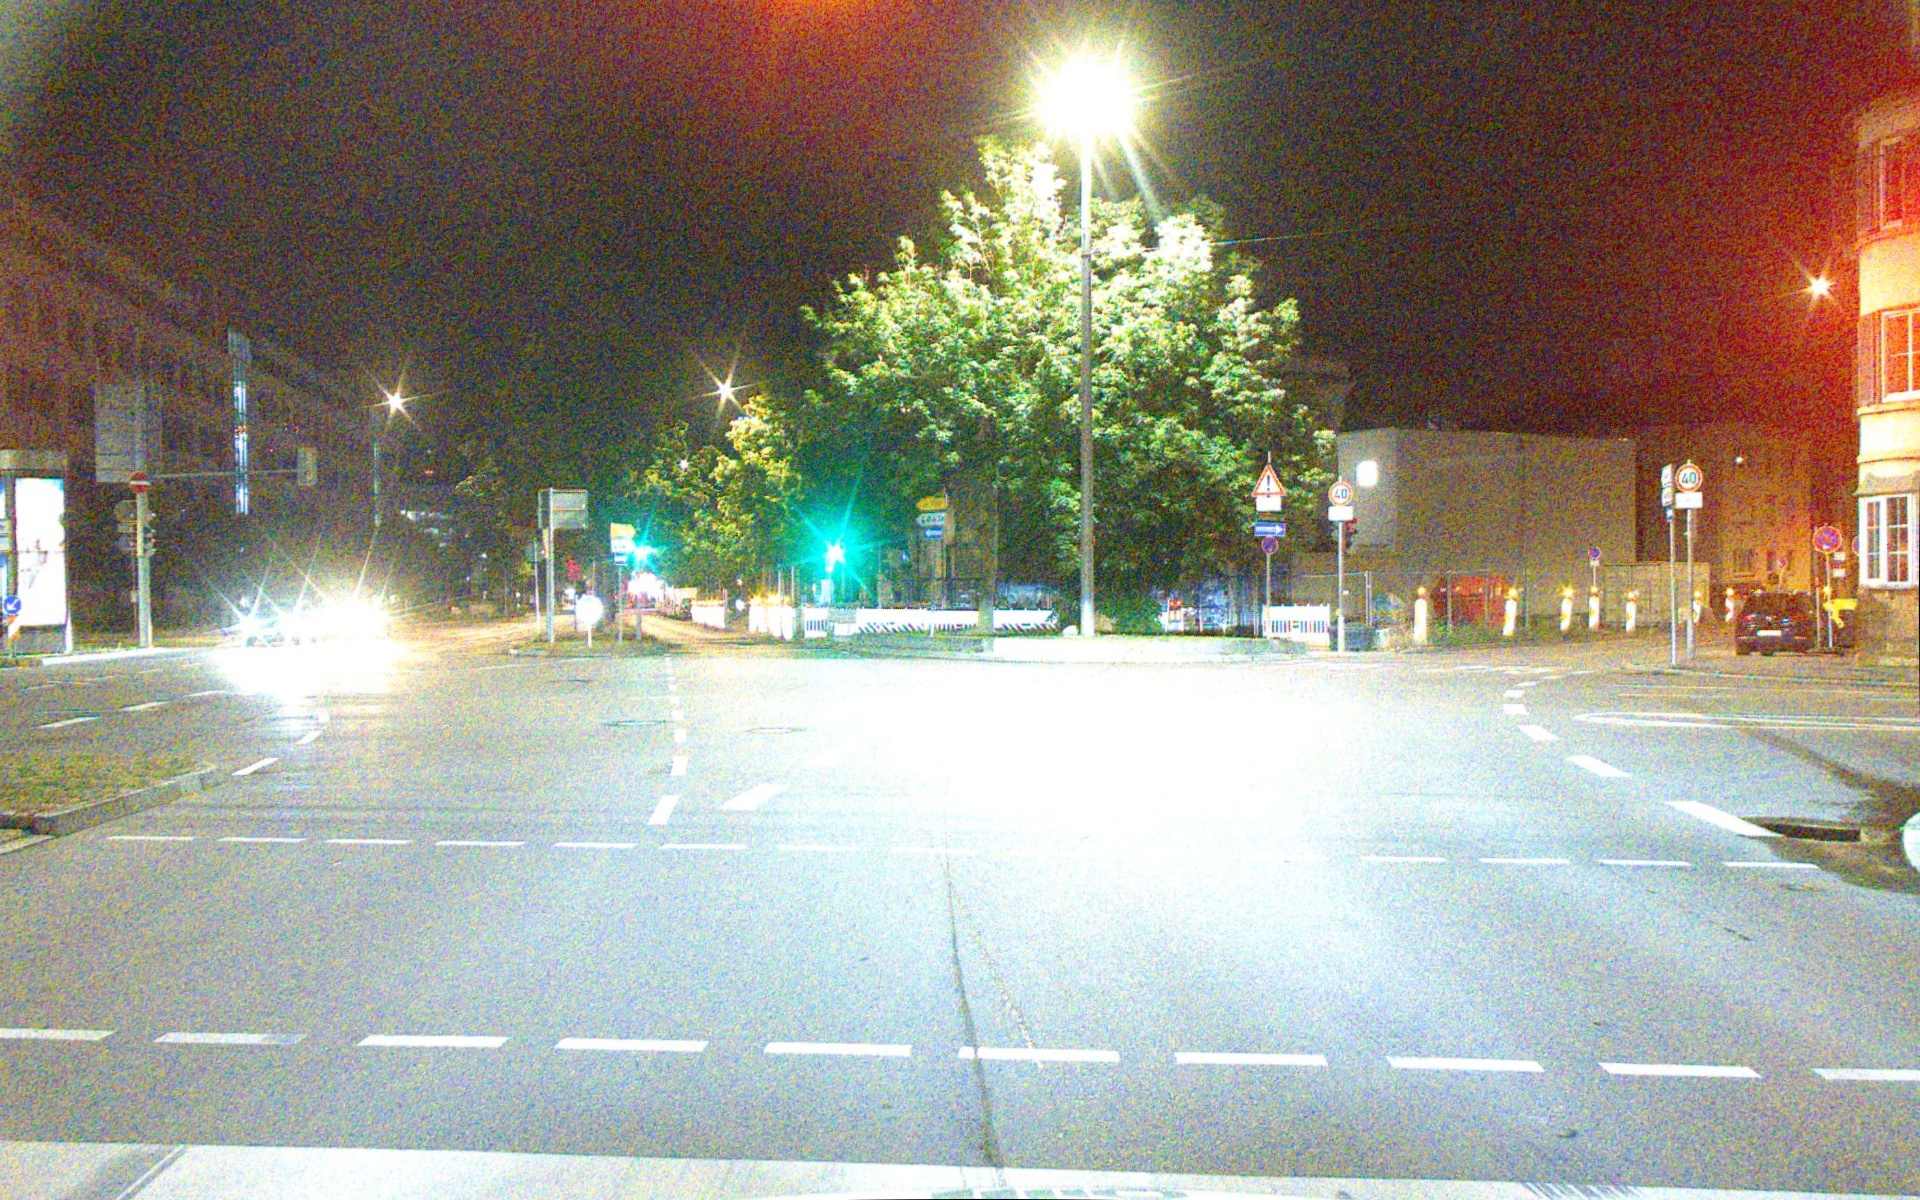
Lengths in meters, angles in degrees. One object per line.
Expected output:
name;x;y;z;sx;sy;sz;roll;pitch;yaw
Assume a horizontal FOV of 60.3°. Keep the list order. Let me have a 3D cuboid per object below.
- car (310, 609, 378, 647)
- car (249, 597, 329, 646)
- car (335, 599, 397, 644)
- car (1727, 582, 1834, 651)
car;-22.778;1.012;61.232;1.726;1.345;3.539;0;-1;-10
car;-21.868;0.698;54.044;1.586;1.541;3.991;0;-1;-9
car;-23.847;0.849;66.503;1.726;1.758;3.539;0;-1;-10
car;20.517;0.409;41.311;1.700;1.640;3.607;-1;-1;38
